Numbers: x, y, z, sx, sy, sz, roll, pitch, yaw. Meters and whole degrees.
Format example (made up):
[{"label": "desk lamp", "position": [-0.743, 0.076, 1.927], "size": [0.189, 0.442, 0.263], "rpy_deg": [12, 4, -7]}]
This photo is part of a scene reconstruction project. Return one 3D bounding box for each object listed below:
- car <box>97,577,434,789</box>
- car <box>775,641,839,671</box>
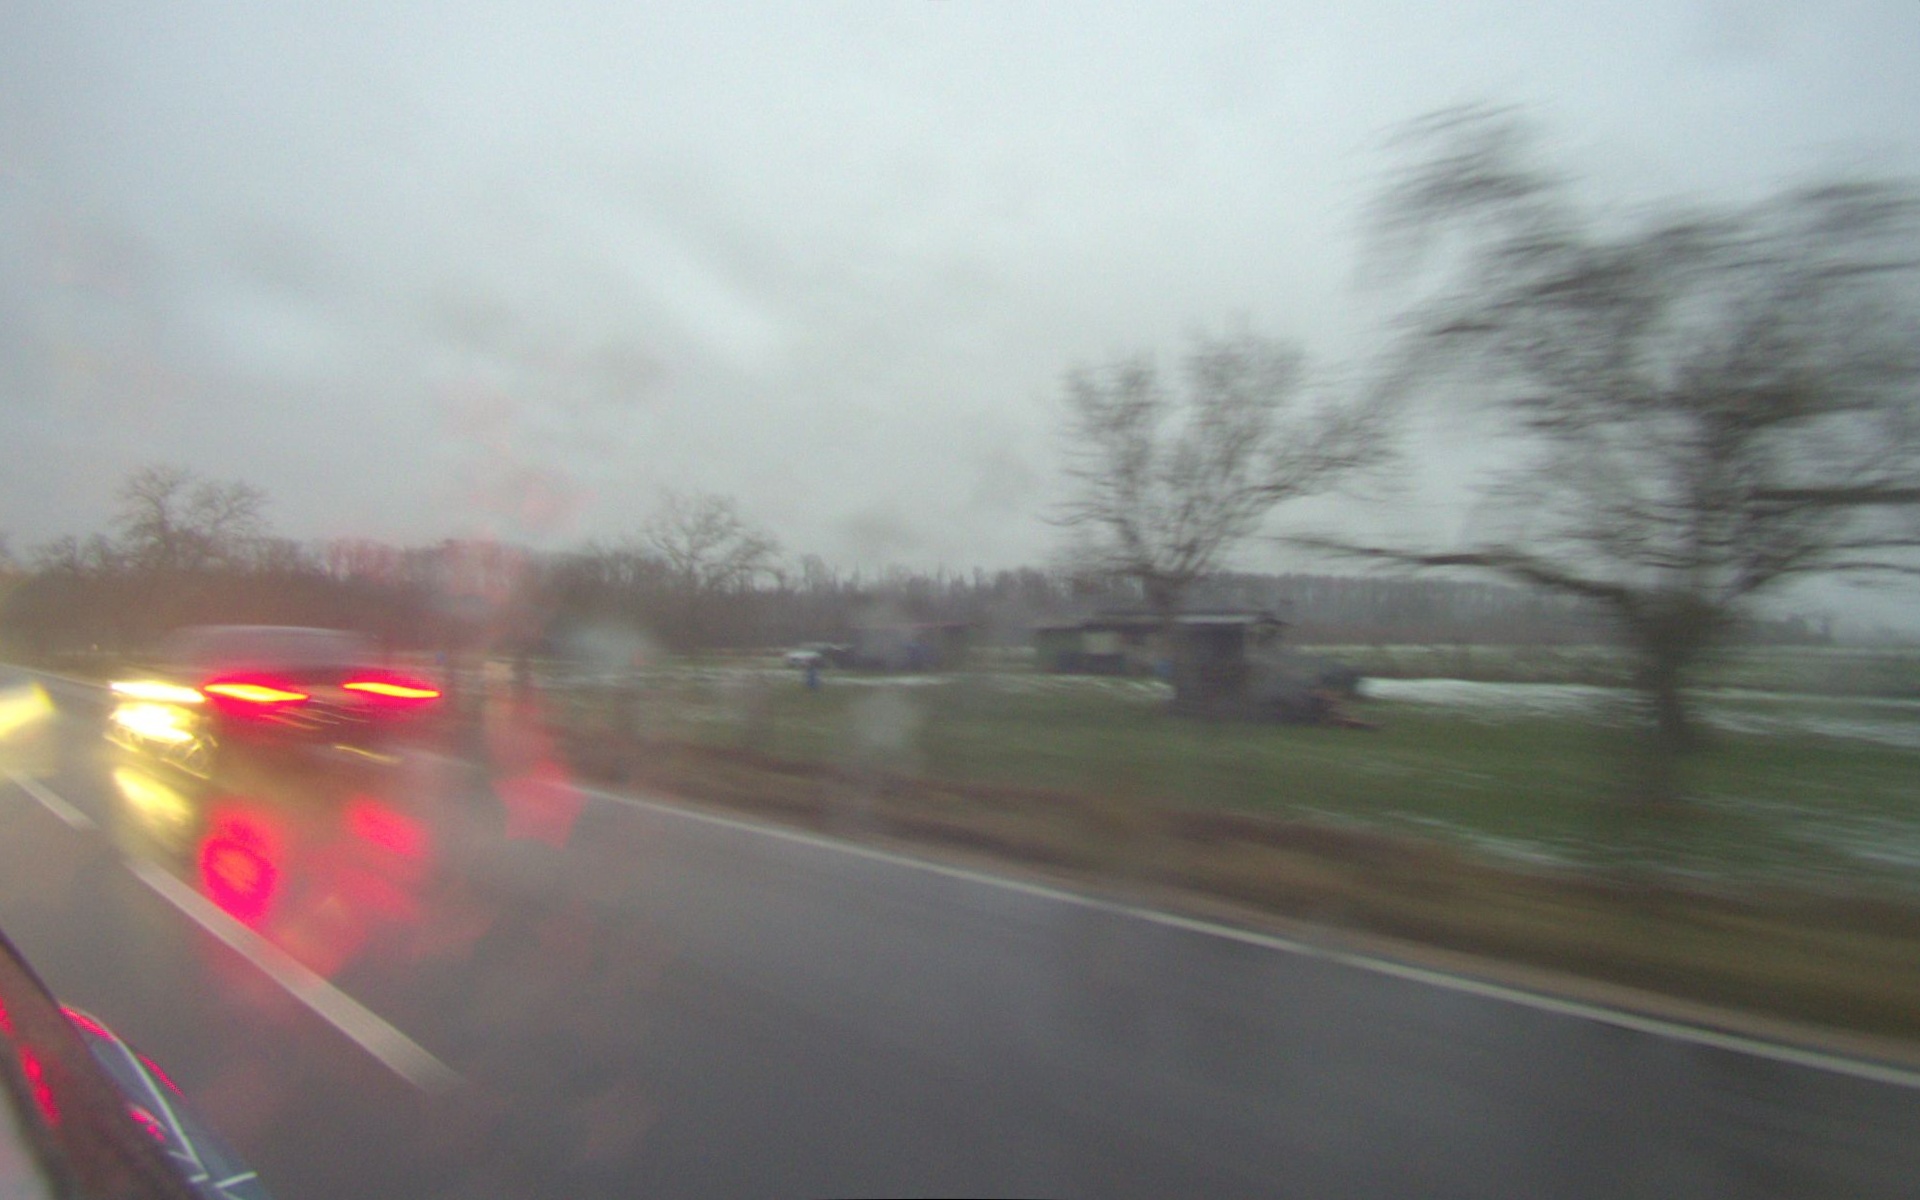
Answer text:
[{"label": "car", "position": [-7.559, 0.787, 10.841], "size": [4.490, 1.820, 1.805], "rpy_deg": [-1, -3, 40]}, {"label": "car", "position": [-7.849, 2.874, 52.106], "size": [1.591, 1.352, 3.421], "rpy_deg": [-1, 0, 27]}]
